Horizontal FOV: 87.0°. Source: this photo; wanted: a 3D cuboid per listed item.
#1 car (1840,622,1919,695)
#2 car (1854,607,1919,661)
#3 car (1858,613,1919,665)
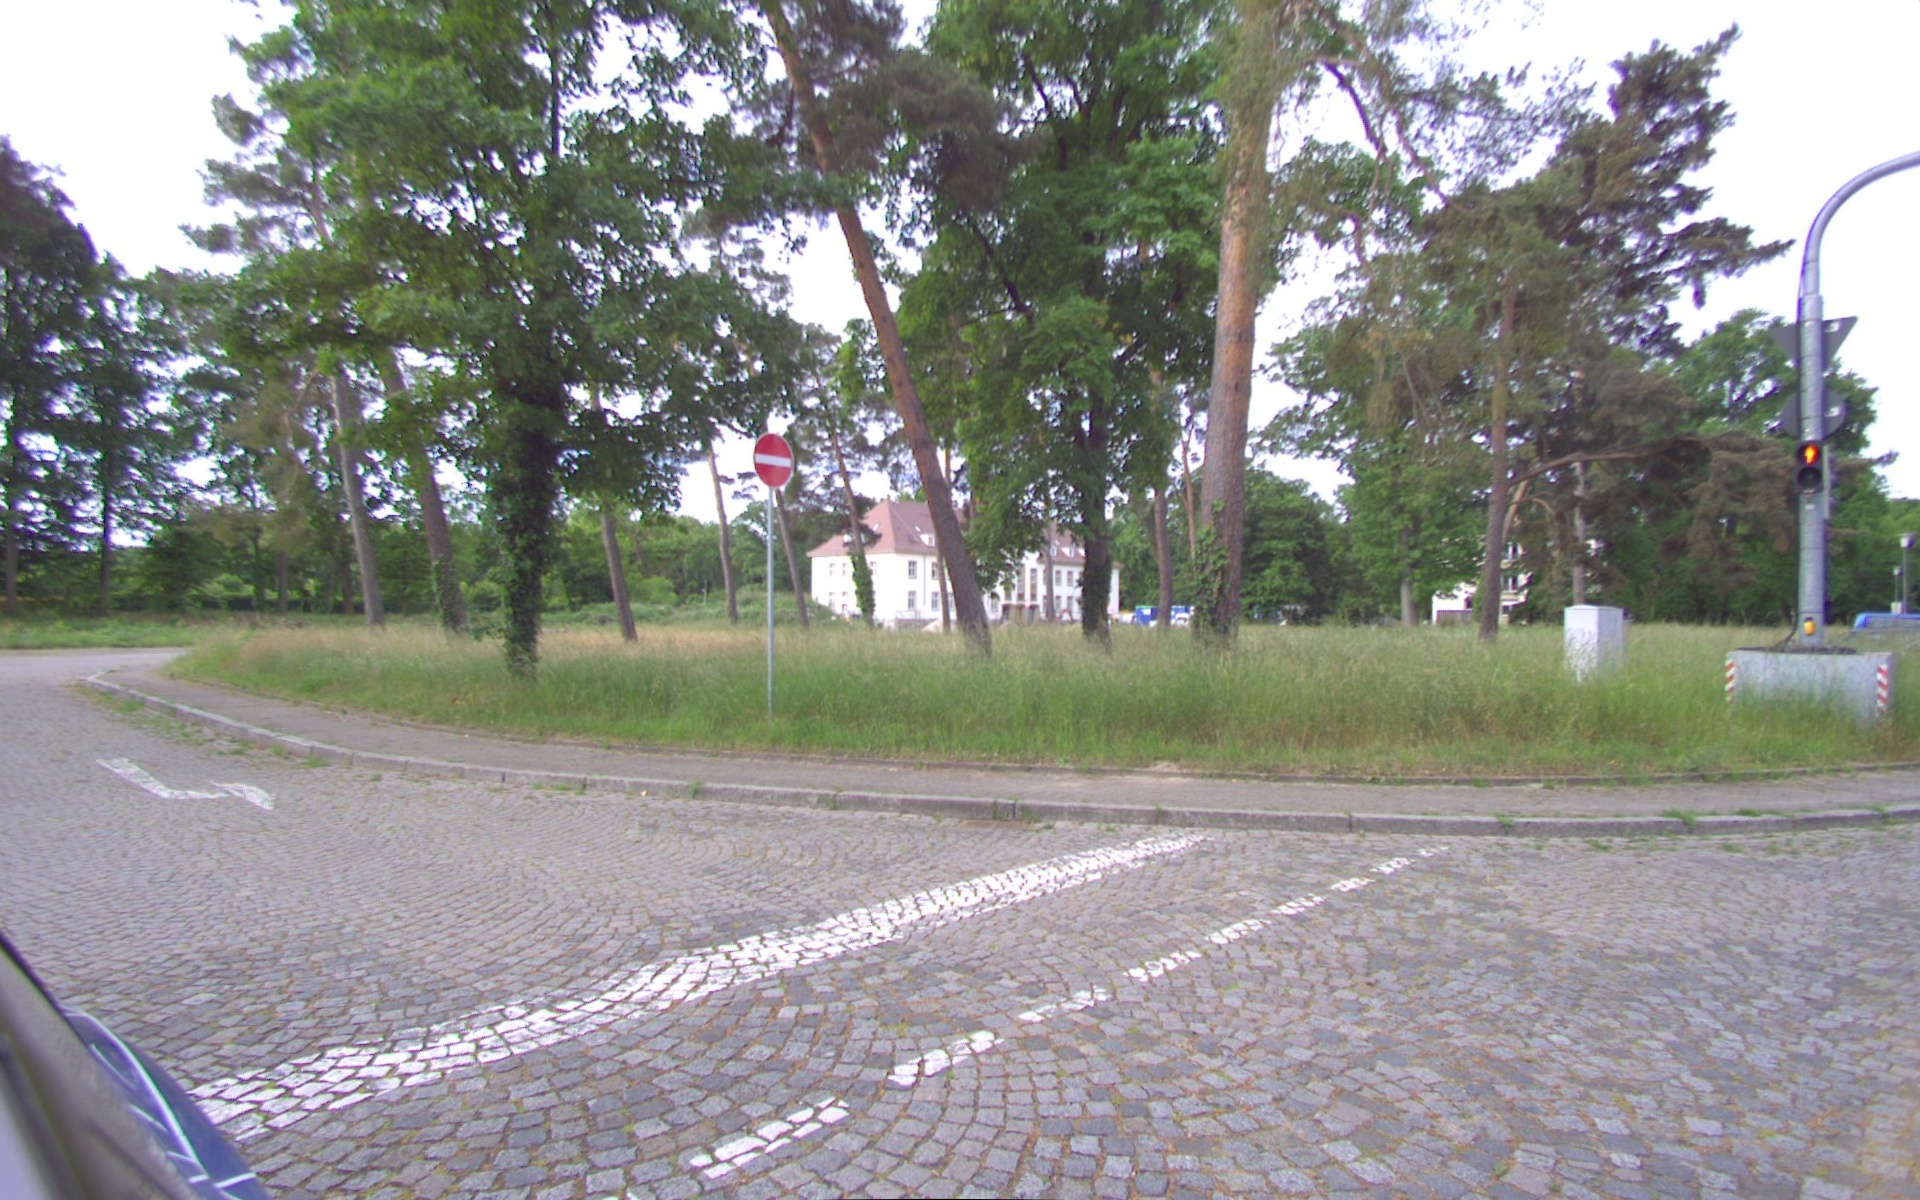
[{"bbox_3d":[20.612,1.199,20.635,3.999,1.483,1.667,-1,-1,42],"label":"car"},{"bbox_3d":[36.510,1.255,37.649,4.794,1.996,1.969,-2,-2,43],"label":"car"},{"bbox_3d":[32.870,1.306,33.951,4.002,1.727,1.666,-2,-2,45],"label":"car"}]
